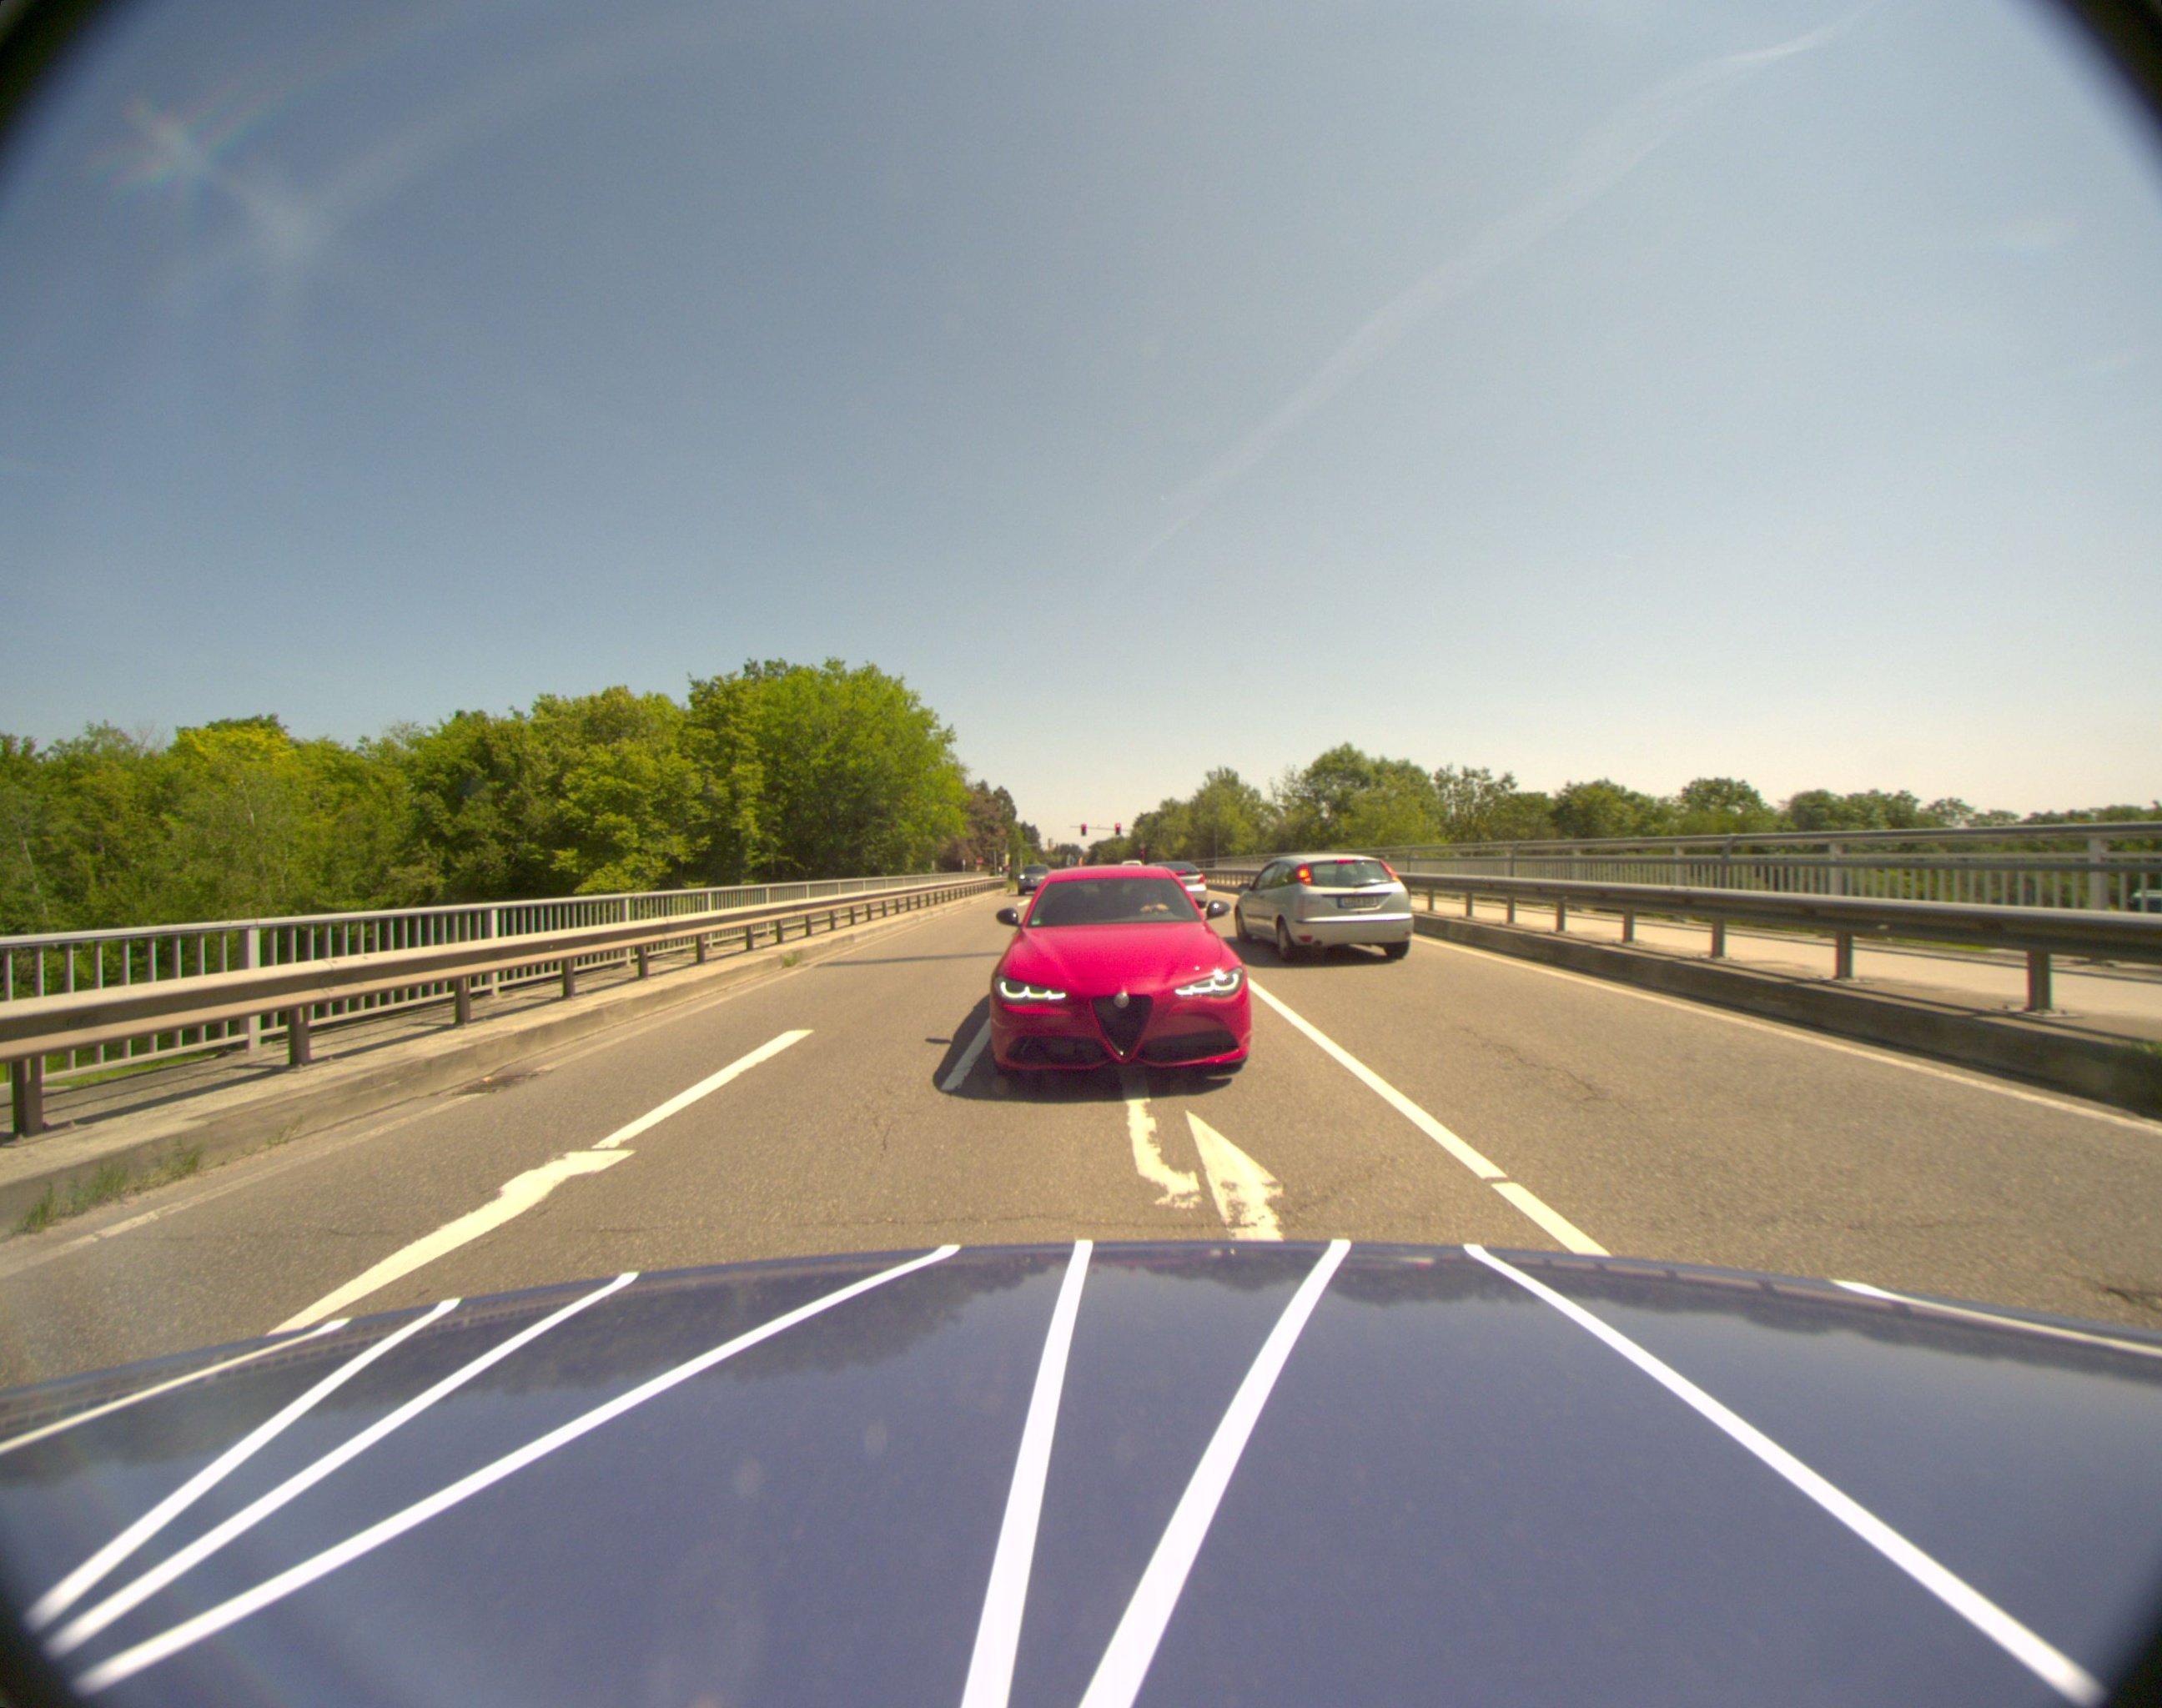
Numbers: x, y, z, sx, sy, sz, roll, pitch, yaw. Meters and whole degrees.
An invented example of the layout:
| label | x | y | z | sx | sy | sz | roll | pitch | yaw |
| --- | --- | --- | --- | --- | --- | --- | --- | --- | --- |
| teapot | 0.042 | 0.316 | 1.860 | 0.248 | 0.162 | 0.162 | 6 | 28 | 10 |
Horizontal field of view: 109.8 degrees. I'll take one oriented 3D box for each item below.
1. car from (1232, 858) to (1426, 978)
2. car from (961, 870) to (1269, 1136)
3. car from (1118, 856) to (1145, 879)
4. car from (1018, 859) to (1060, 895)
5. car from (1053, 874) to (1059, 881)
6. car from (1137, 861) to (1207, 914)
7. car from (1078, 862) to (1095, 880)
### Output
| label | x | y | z | sx | sy | sz | roll | pitch | yaw |
| --- | --- | --- | --- | --- | --- | --- | --- | --- | --- |
| car | 3.507 | 0.830 | 11.482 | 1.800 | 1.448 | 3.707 | -2 | 0 | 2 |
| car | 0.245 | 0.940 | 6.688 | 1.800 | 1.448 | 4.285 | -2 | 0 | 1 |
| car | 3.952 | 1.036 | 60.007 | 1.848 | 1.758 | 4.000 | -2 | 0 | 1 |
| car | -2.112 | 1.131 | 39.208 | 1.848 | 1.675 | 4.000 | -2 | 0 | 1 |
| car | -6.479 | 6.178 | 200.091 | 1.416 | 1.499 | 3.316 | -1 | 0 | 0 |
| car | 2.642 | 0.930 | 22.809 | 1.647 | 1.373 | 3.938 | -2 | 0 | 1 |
| car | 0.564 | 1.730 | 77.457 | 1.633 | 1.667 | 3.490 | -2 | 1 | 1 |
